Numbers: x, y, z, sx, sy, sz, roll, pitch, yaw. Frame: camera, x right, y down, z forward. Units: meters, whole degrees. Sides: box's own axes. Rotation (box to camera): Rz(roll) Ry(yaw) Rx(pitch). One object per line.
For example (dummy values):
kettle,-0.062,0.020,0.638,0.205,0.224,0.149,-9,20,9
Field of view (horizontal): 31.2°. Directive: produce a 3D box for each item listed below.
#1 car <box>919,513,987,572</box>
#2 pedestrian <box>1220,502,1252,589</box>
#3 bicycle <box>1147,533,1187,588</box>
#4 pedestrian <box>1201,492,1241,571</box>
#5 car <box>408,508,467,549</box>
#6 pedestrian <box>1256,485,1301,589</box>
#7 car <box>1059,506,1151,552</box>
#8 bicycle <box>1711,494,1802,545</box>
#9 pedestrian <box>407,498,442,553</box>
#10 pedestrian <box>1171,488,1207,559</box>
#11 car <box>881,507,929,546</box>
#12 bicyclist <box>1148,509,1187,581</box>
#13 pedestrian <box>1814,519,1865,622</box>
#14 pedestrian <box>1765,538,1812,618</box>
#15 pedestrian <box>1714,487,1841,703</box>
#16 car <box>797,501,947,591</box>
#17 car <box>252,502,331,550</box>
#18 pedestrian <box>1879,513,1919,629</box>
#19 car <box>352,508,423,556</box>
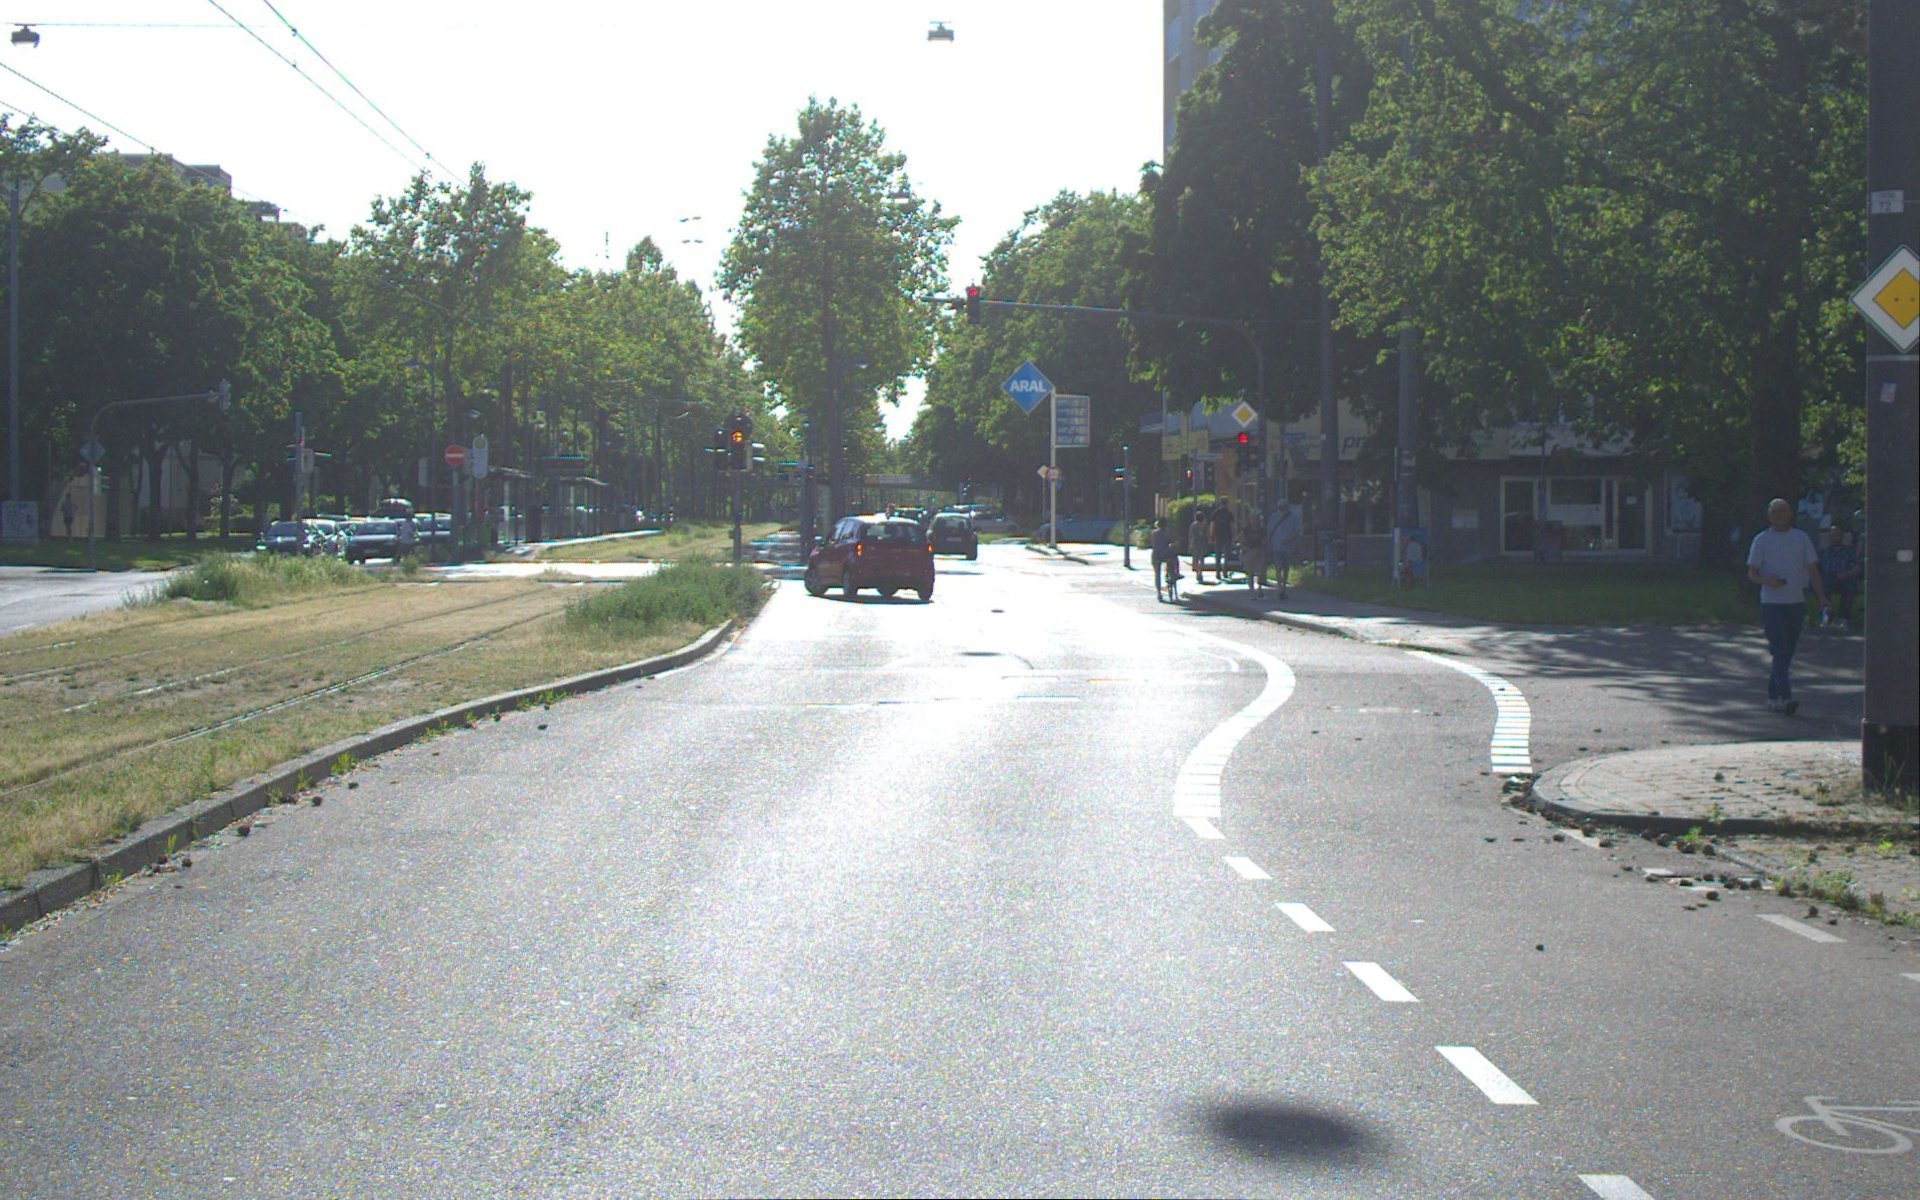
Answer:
car,-0.258,-1.942,115.502,1.968,1.853,4.001,3,1,-3
pedestrian,4.855,-0.959,60.546,0.529,1.523,0.627,-1,1,4
bicycle,3.888,-0.752,64.628,0.648,0.969,1.803,3,1,1
pedestrian,5.671,-1.490,74.721,0.730,1.676,0.532,3,1,11
car,-18.967,-2.624,124.921,1.566,1.397,3.915,3,1,-2
pedestrian,5.590,-1.105,60.335,0.703,1.783,0.694,-2,2,4
car,6.493,-3.177,153.796,3.987,1.853,2.012,3,1,2
bicycle,23.626,-2.392,101.994,2.470,1.394,0.608,3,1,-2
pedestrian,-16.165,-2.253,103.765,0.891,1.601,0.613,3,1,-1
pedestrian,4.981,-1.666,74.696,0.647,1.517,0.496,3,1,11
car,-2.411,-3.238,150.871,1.894,1.605,4.501,3,1,-3
bicyclist,3.897,-1.045,64.636,0.638,1.318,0.803,3,1,1
pedestrian,10.741,-0.361,41.966,0.404,1.222,0.760,3,1,25
pedestrian,10.132,-0.271,42.030,0.404,0.931,0.622,3,4,25
pedestrian,6.554,-0.050,27.597,0.880,1.716,0.725,0,2,4
car,-1.647,-1.012,63.226,1.694,1.503,3.700,2,2,-19
car,-21.542,-2.389,110.967,1.806,1.527,4.361,0,1,-2
pedestrian,11.534,-0.347,41.446,0.686,1.368,0.754,3,1,25
car,-18.587,-2.218,111.757,1.687,1.527,4.361,0,1,-2
